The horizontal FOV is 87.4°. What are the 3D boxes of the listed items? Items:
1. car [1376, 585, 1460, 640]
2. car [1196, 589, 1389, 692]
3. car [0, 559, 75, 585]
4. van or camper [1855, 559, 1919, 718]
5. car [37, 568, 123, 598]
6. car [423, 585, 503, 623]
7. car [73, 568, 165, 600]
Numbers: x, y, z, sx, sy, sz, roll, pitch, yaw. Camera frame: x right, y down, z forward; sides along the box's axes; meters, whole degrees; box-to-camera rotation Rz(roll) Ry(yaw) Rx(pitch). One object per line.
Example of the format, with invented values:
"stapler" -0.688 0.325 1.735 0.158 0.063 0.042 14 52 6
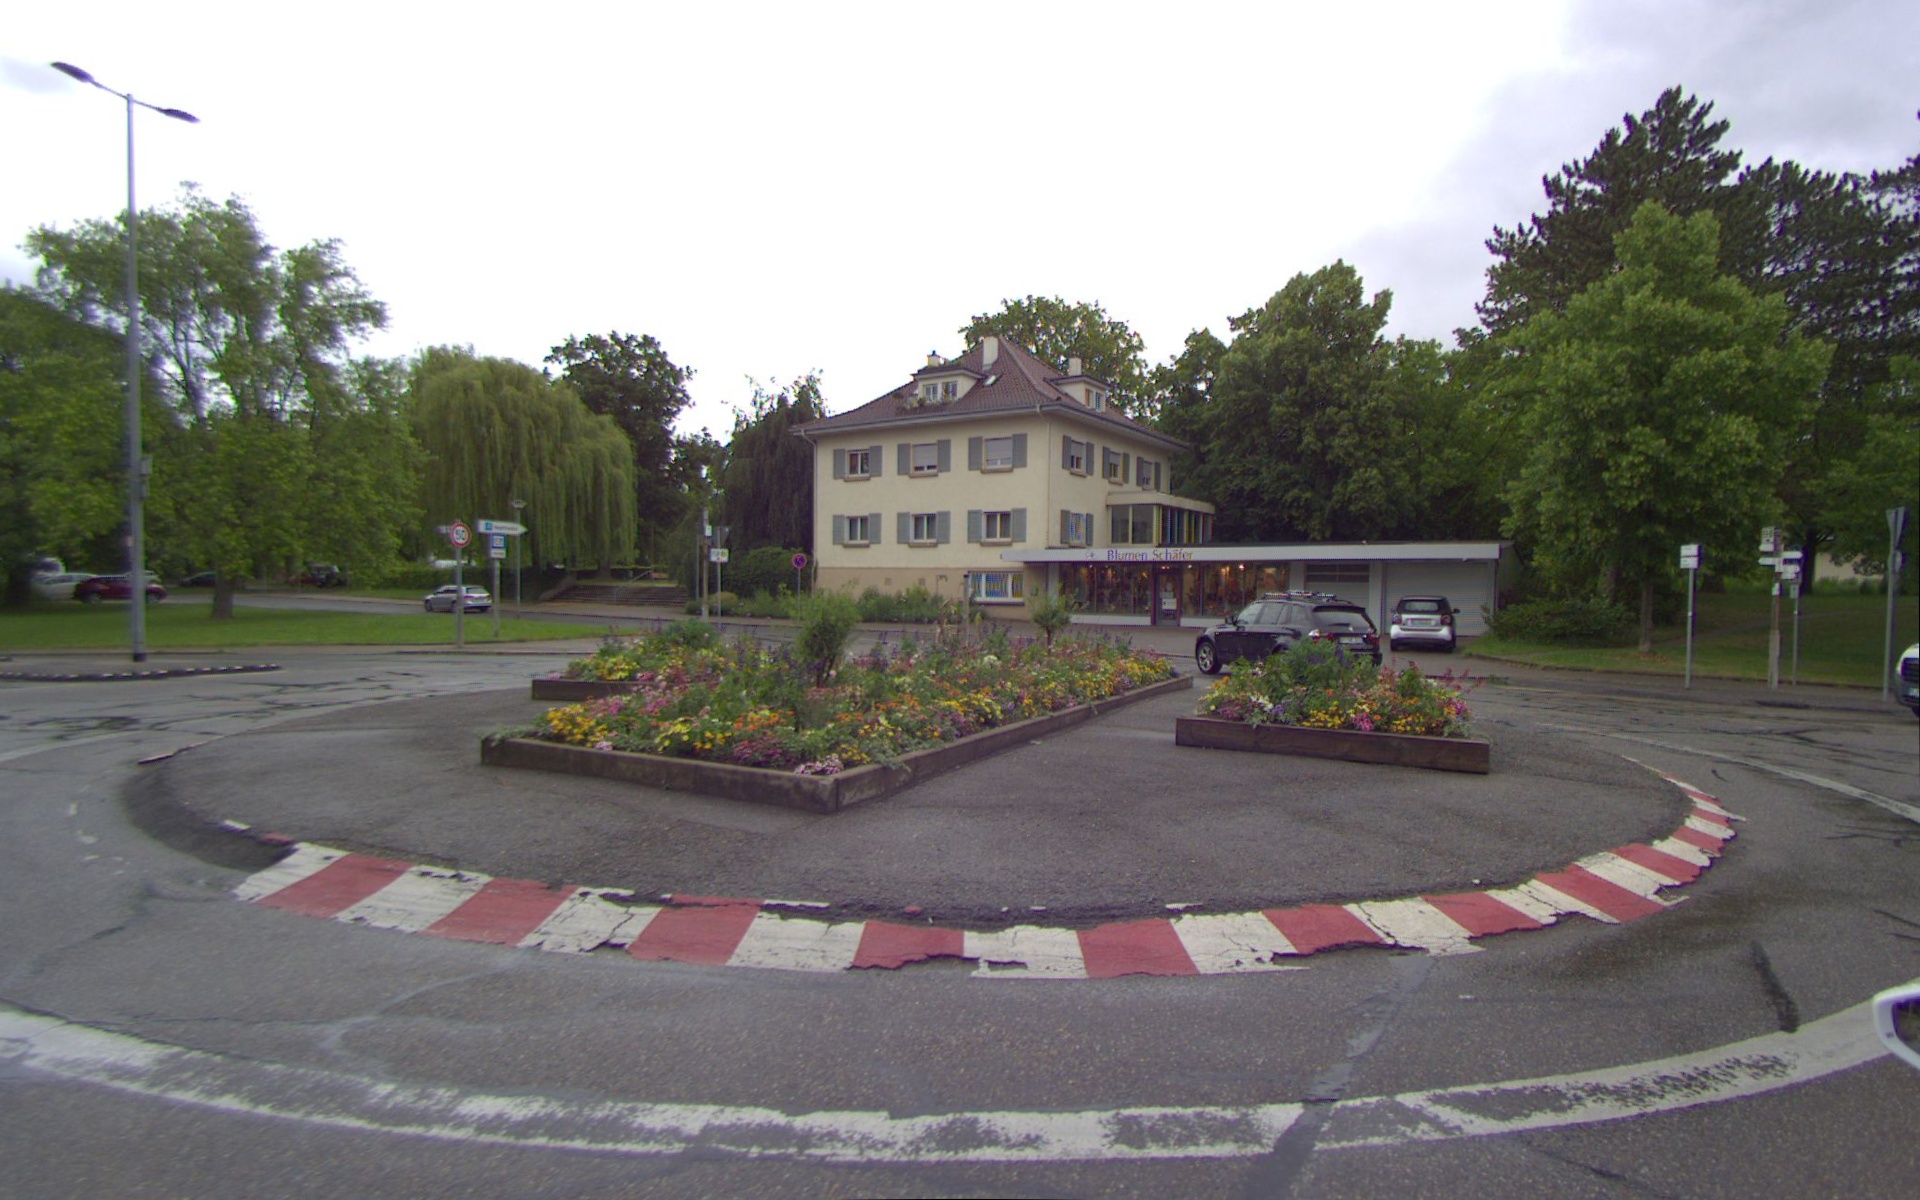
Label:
"car" 13.484 0.341 29.474 1.786 1.506 3.822 1 0 32
"car" 6.508 0.750 20.194 1.740 1.825 4.235 1 -1 -13
"car" -63.201 -1.907 68.805 1.777 1.615 3.622 4 1 37
"van or camper" 17.395 0.730 14.999 5.554 2.410 2.202 3 1 11
"car" -52.974 -0.994 60.508 1.777 1.615 3.622 4 1 37
"car" -26.708 0.194 53.963 4.071 1.765 1.996 4 1 32
"car" -46.960 -0.881 56.144 1.777 1.615 3.622 4 1 37
